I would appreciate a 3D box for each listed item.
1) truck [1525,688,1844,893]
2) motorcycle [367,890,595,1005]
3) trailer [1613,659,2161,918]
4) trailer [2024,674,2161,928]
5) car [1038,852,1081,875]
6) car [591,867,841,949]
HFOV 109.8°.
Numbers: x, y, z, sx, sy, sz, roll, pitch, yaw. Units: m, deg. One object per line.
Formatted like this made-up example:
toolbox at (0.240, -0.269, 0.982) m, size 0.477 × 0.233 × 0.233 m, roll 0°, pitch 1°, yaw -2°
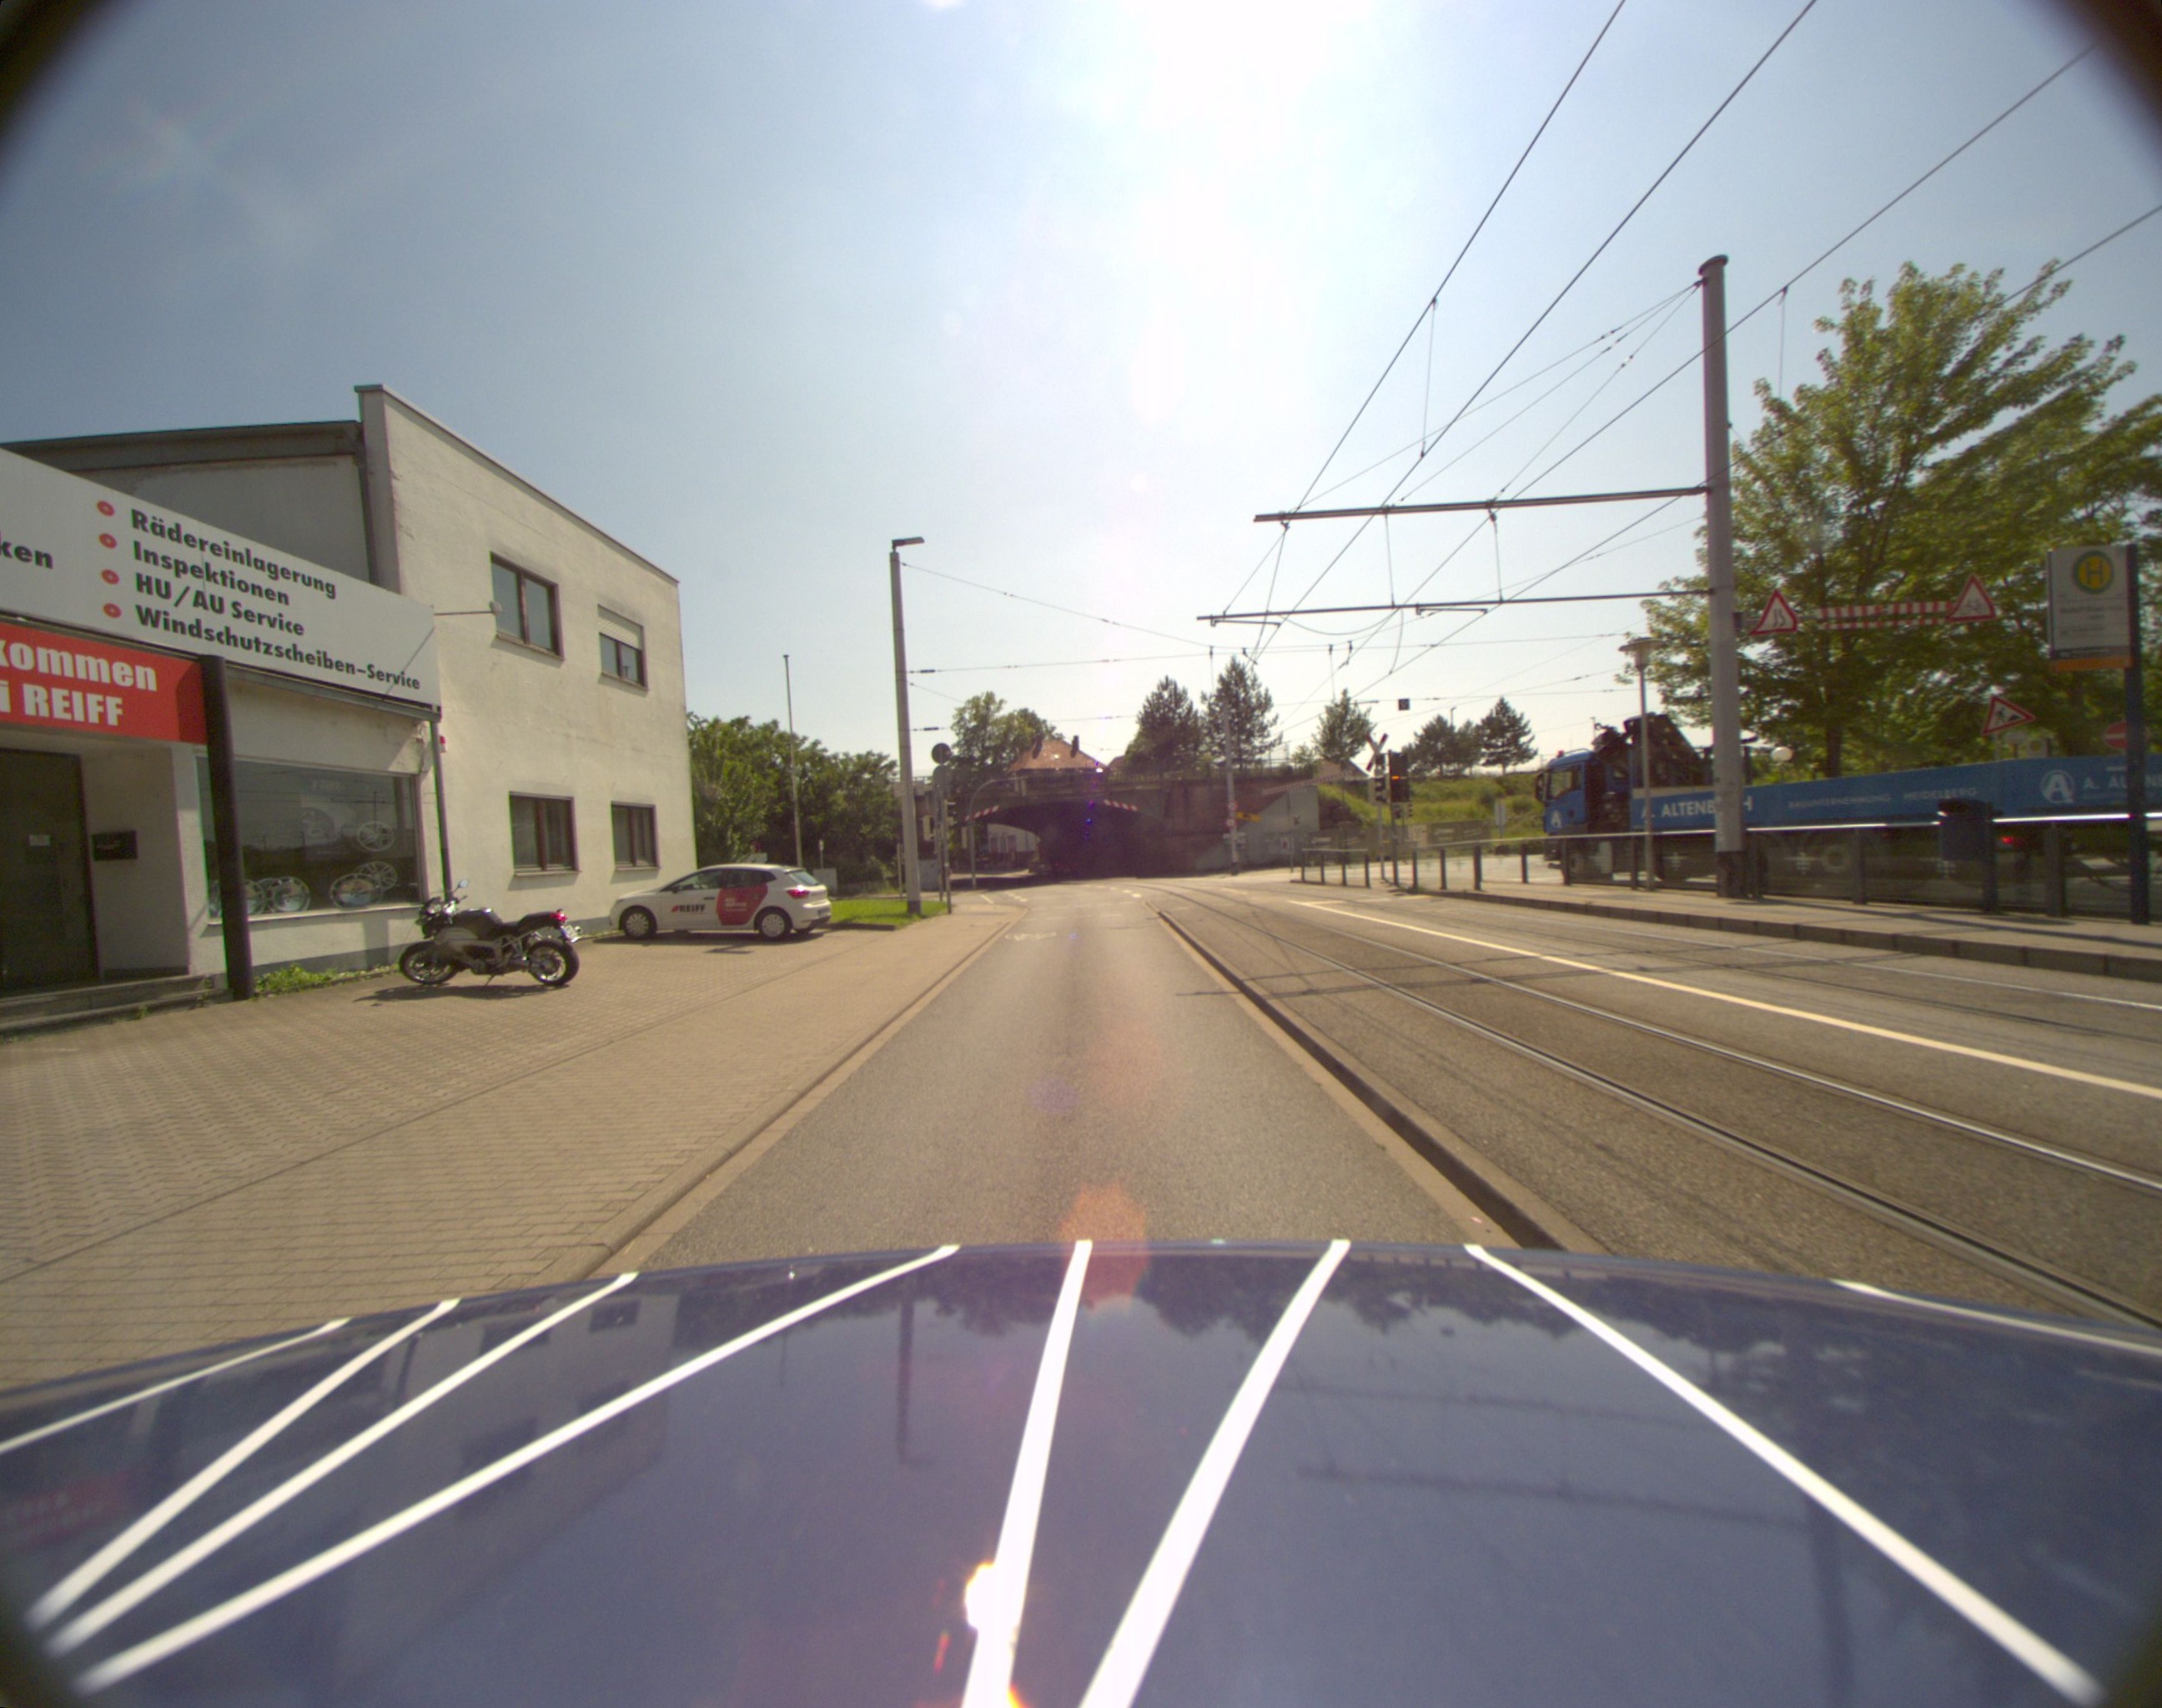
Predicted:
truck at (12.502, -1.166, 16.405) m, size 2.750 × 3.587 × 5.039 m, roll -3°, pitch 0°, yaw 0°
motorcycle at (-7.349, 1.127, 9.388) m, size 2.189 × 1.301 × 0.731 m, roll 0°, pitch 1°, yaw -1°
trailer at (12.517, -0.806, 12.391) m, size 2.750 × 2.960 × 6.897 m, roll -3°, pitch 0°, yaw 0°
trailer at (12.555, -0.608, 5.134) m, size 2.804 × 2.613 × 7.600 m, roll -3°, pitch 0°, yaw -1°
car at (-1.631, 0.734, 56.309) m, size 1.824 × 1.594 × 4.300 m, roll -3°, pitch 0°, yaw -20°
car at (-7.042, 1.011, 14.982) m, size 3.997 × 1.454 × 1.889 m, roll 0°, pitch 1°, yaw -1°
